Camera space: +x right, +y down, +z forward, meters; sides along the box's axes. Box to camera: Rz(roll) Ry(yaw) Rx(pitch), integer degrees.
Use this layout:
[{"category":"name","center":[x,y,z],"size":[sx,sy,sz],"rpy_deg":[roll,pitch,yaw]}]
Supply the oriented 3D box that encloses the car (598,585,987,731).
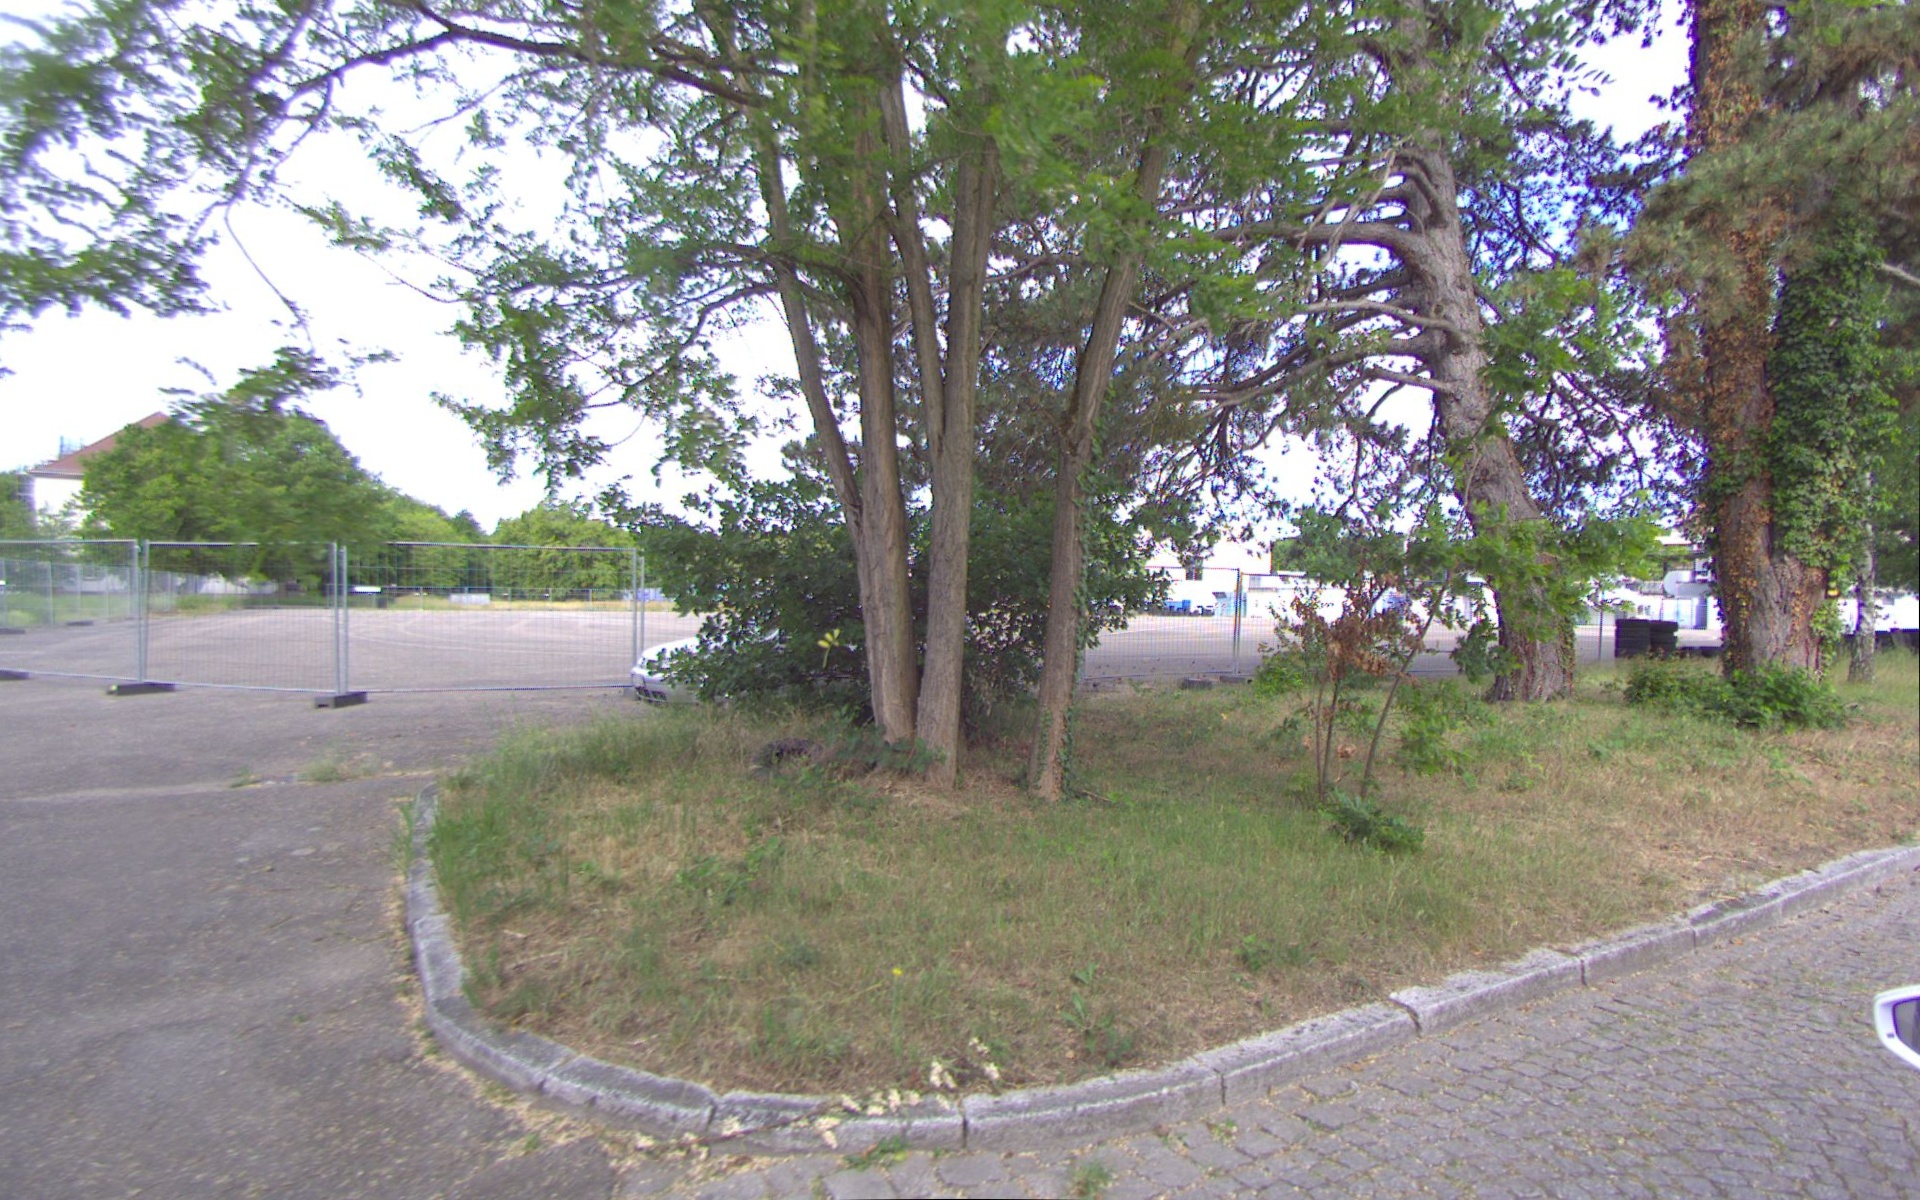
[{"category":"car","center":[-1.984,0.607,12.320],"size":[4.323,1.496,1.907],"rpy_deg":[1,1,-34]}]
